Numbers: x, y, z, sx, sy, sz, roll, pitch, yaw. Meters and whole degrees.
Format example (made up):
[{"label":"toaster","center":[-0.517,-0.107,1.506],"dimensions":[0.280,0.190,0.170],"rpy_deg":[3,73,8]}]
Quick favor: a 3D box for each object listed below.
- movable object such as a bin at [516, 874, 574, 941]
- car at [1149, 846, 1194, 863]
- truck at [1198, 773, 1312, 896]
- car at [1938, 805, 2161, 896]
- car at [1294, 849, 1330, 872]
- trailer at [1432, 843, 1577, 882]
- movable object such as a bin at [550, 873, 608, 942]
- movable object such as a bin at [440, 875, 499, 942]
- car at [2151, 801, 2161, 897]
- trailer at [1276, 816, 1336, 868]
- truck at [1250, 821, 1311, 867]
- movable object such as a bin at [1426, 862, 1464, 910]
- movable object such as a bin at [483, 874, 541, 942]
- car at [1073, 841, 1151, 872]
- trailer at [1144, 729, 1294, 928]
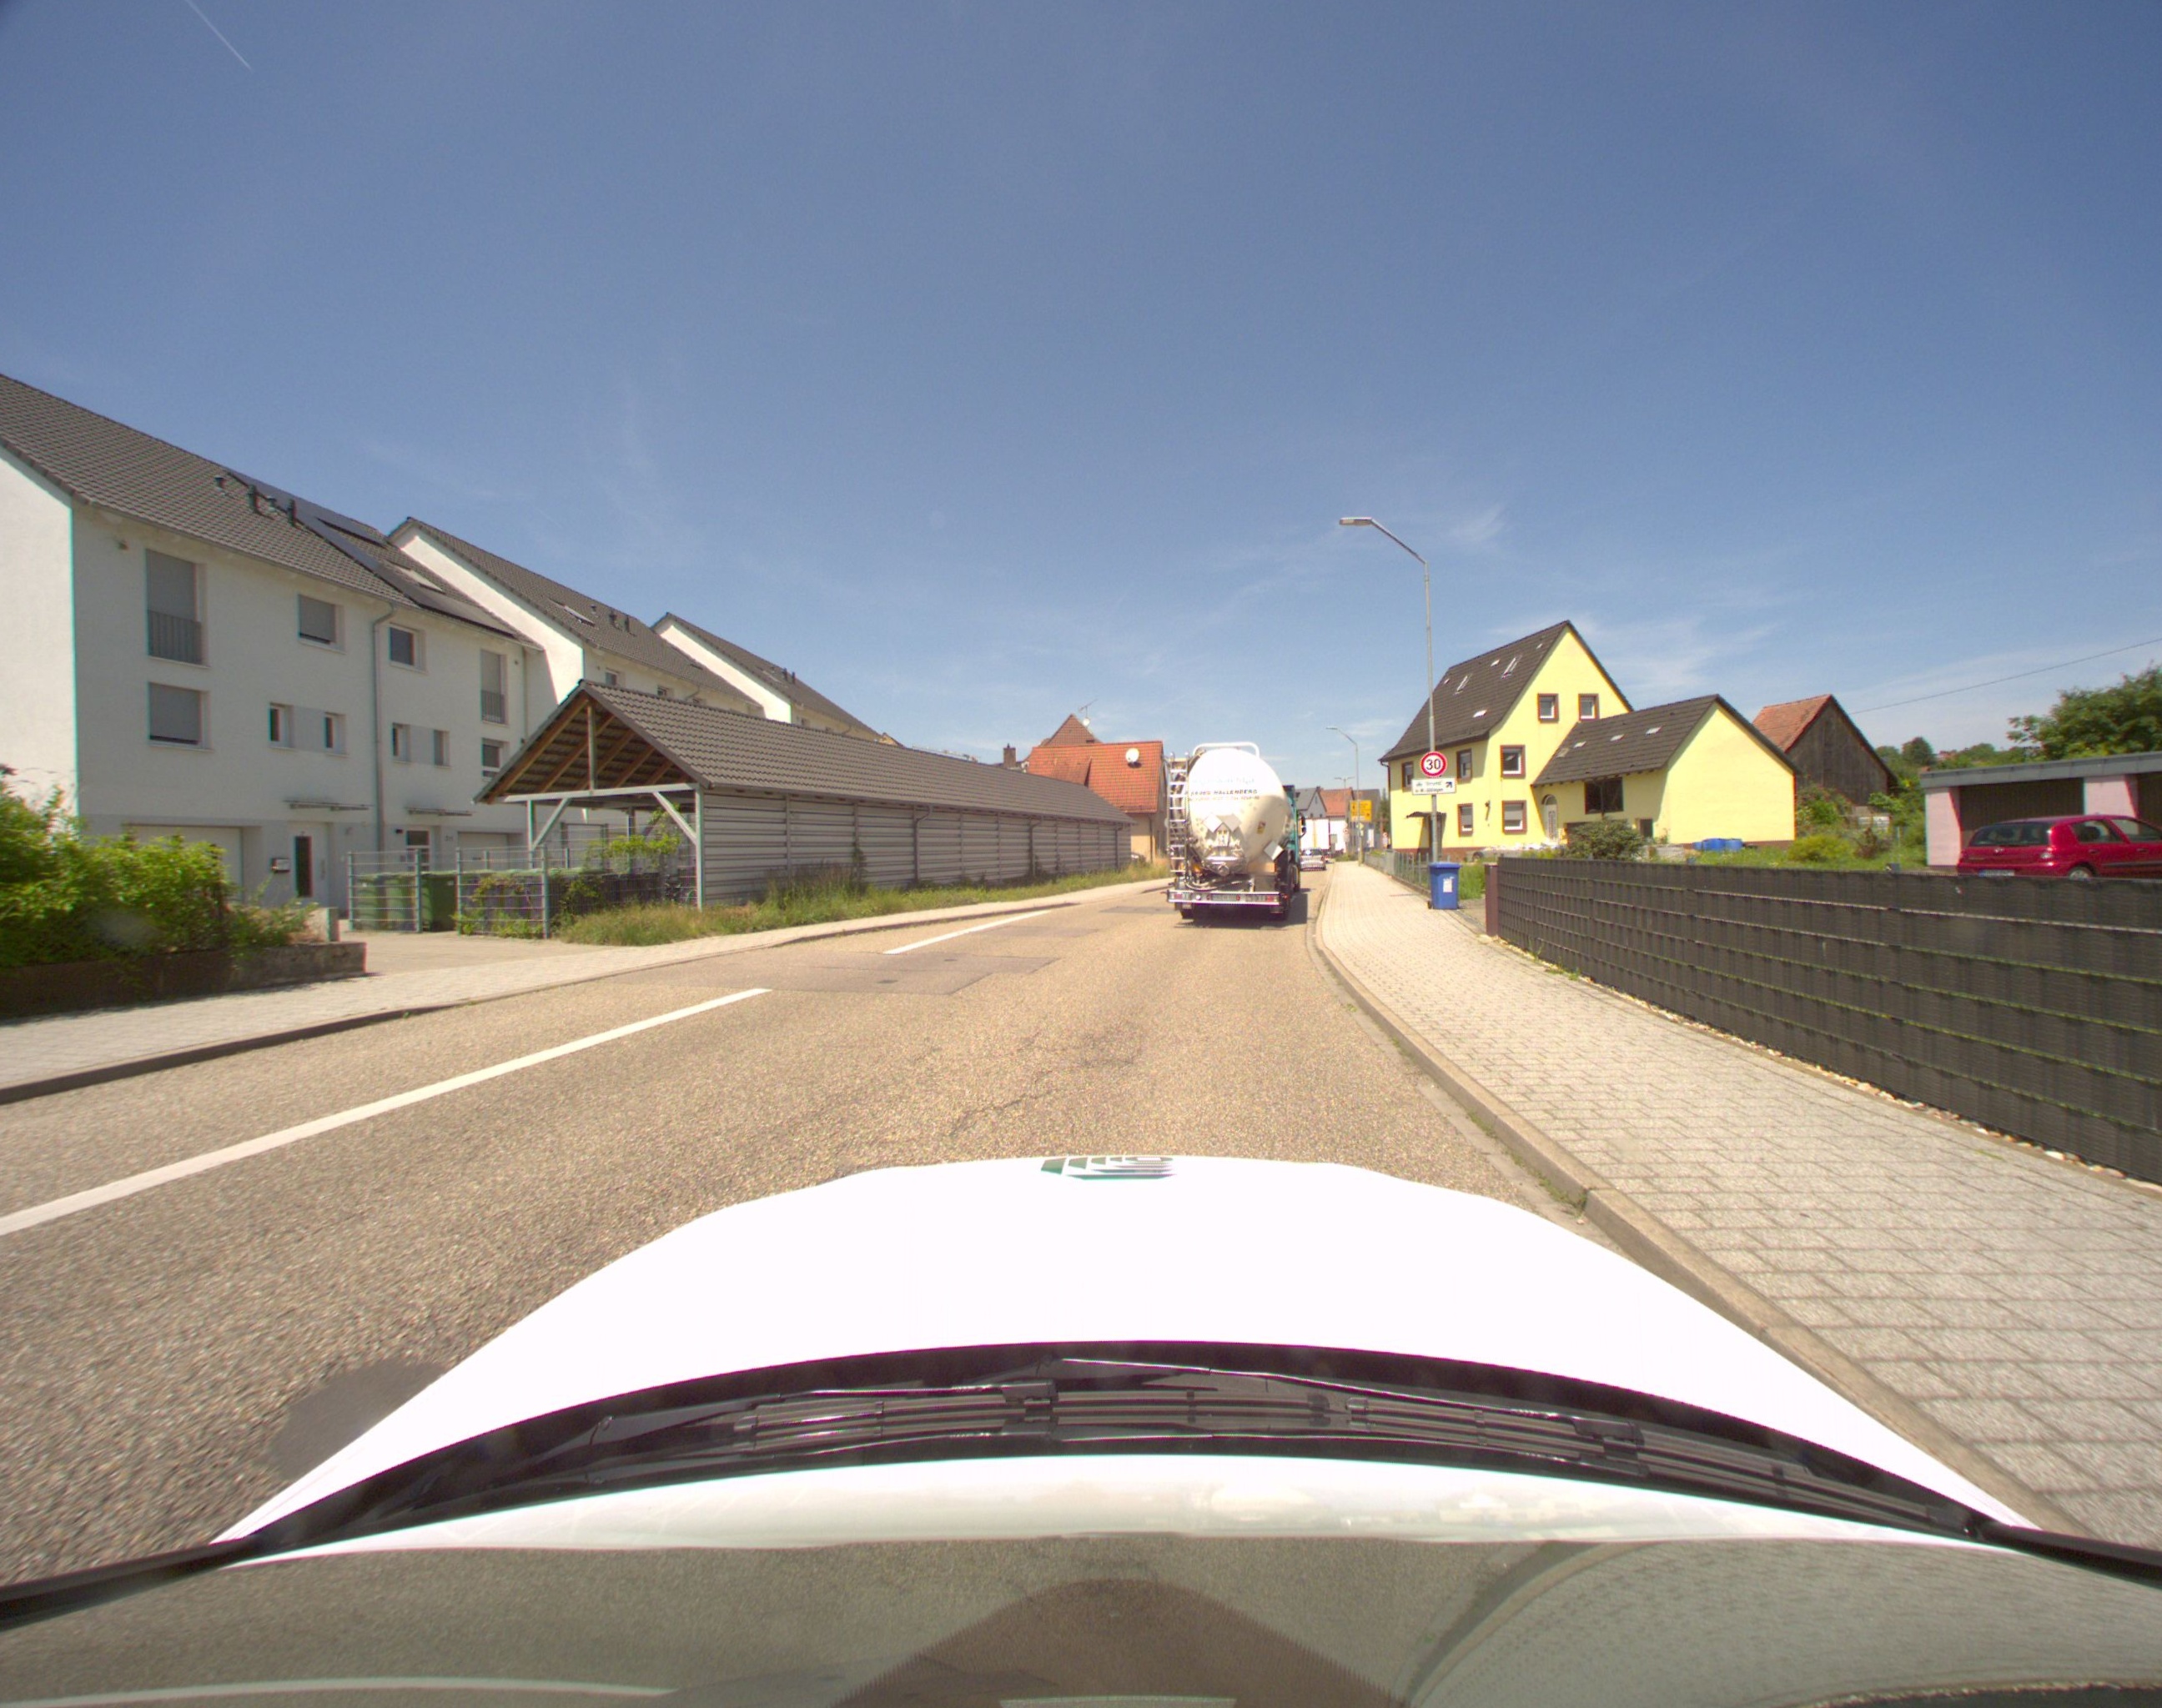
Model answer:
[{"label":"movable object such as a bin","center":[-10.467,1.030,15.927],"dimensions":[0.635,1.278,0.697],"rpy_deg":[-1,-1,17]},{"label":"car","center":[9.789,0.032,88.415],"dimensions":[4.463,1.785,1.892],"rpy_deg":[0,1,39]},{"label":"truck","center":[6.453,-0.614,29.578],"dimensions":[2.961,3.965,5.609],"rpy_deg":[-1,0,23]},{"label":"car","center":[18.624,-0.105,15.099],"dimensions":[3.819,1.486,1.758],"rpy_deg":[-3,0,-6]},{"label":"car","center":[15.281,0.420,53.963],"dimensions":[1.831,1.486,4.010],"rpy_deg":[-1,0,9]},{"label":"trailer","center":[18.059,0.351,34.796],"dimensions":[5.349,1.546,2.130],"rpy_deg":[-1,0,-11]},{"label":"movable object such as a bin","center":[-9.668,1.007,15.685],"dimensions":[0.635,1.278,0.697],"rpy_deg":[-1,-1,17]},{"label":"movable object such as a bin","center":[-12.285,1.078,16.362],"dimensions":[0.635,1.278,0.697],"rpy_deg":[-1,-1,17]},{"label":"car","center":[19.595,-0.123,12.689],"dimensions":[4.111,1.548,1.845],"rpy_deg":[-1,0,-10]},{"label":"trailer","center":[20.167,-0.970,73.959],"dimensions":[3.116,4.277,12.515],"rpy_deg":[-1,0,6]},{"label":"truck","center":[19.865,-0.985,81.551],"dimensions":[3.116,4.401,5.893],"rpy_deg":[-1,0,-21]},{"label":"movable object such as a bin","center":[8.198,0.715,18.358],"dimensions":[0.562,1.057,0.651],"rpy_deg":[-2,-1,2]},{"label":"movable object such as a bin","center":[-11.247,1.051,16.114],"dimensions":[0.635,1.278,0.697],"rpy_deg":[-1,-1,17]},{"label":"car","center":[1.830,0.154,47.841],"dimensions":[4.090,1.638,1.875],"rpy_deg":[-2,0,19]},{"label":"trailer","center":[4.235,-0.477,22.174],"dimensions":[2.931,3.948,11.664],"rpy_deg":[-1,0,15]}]
